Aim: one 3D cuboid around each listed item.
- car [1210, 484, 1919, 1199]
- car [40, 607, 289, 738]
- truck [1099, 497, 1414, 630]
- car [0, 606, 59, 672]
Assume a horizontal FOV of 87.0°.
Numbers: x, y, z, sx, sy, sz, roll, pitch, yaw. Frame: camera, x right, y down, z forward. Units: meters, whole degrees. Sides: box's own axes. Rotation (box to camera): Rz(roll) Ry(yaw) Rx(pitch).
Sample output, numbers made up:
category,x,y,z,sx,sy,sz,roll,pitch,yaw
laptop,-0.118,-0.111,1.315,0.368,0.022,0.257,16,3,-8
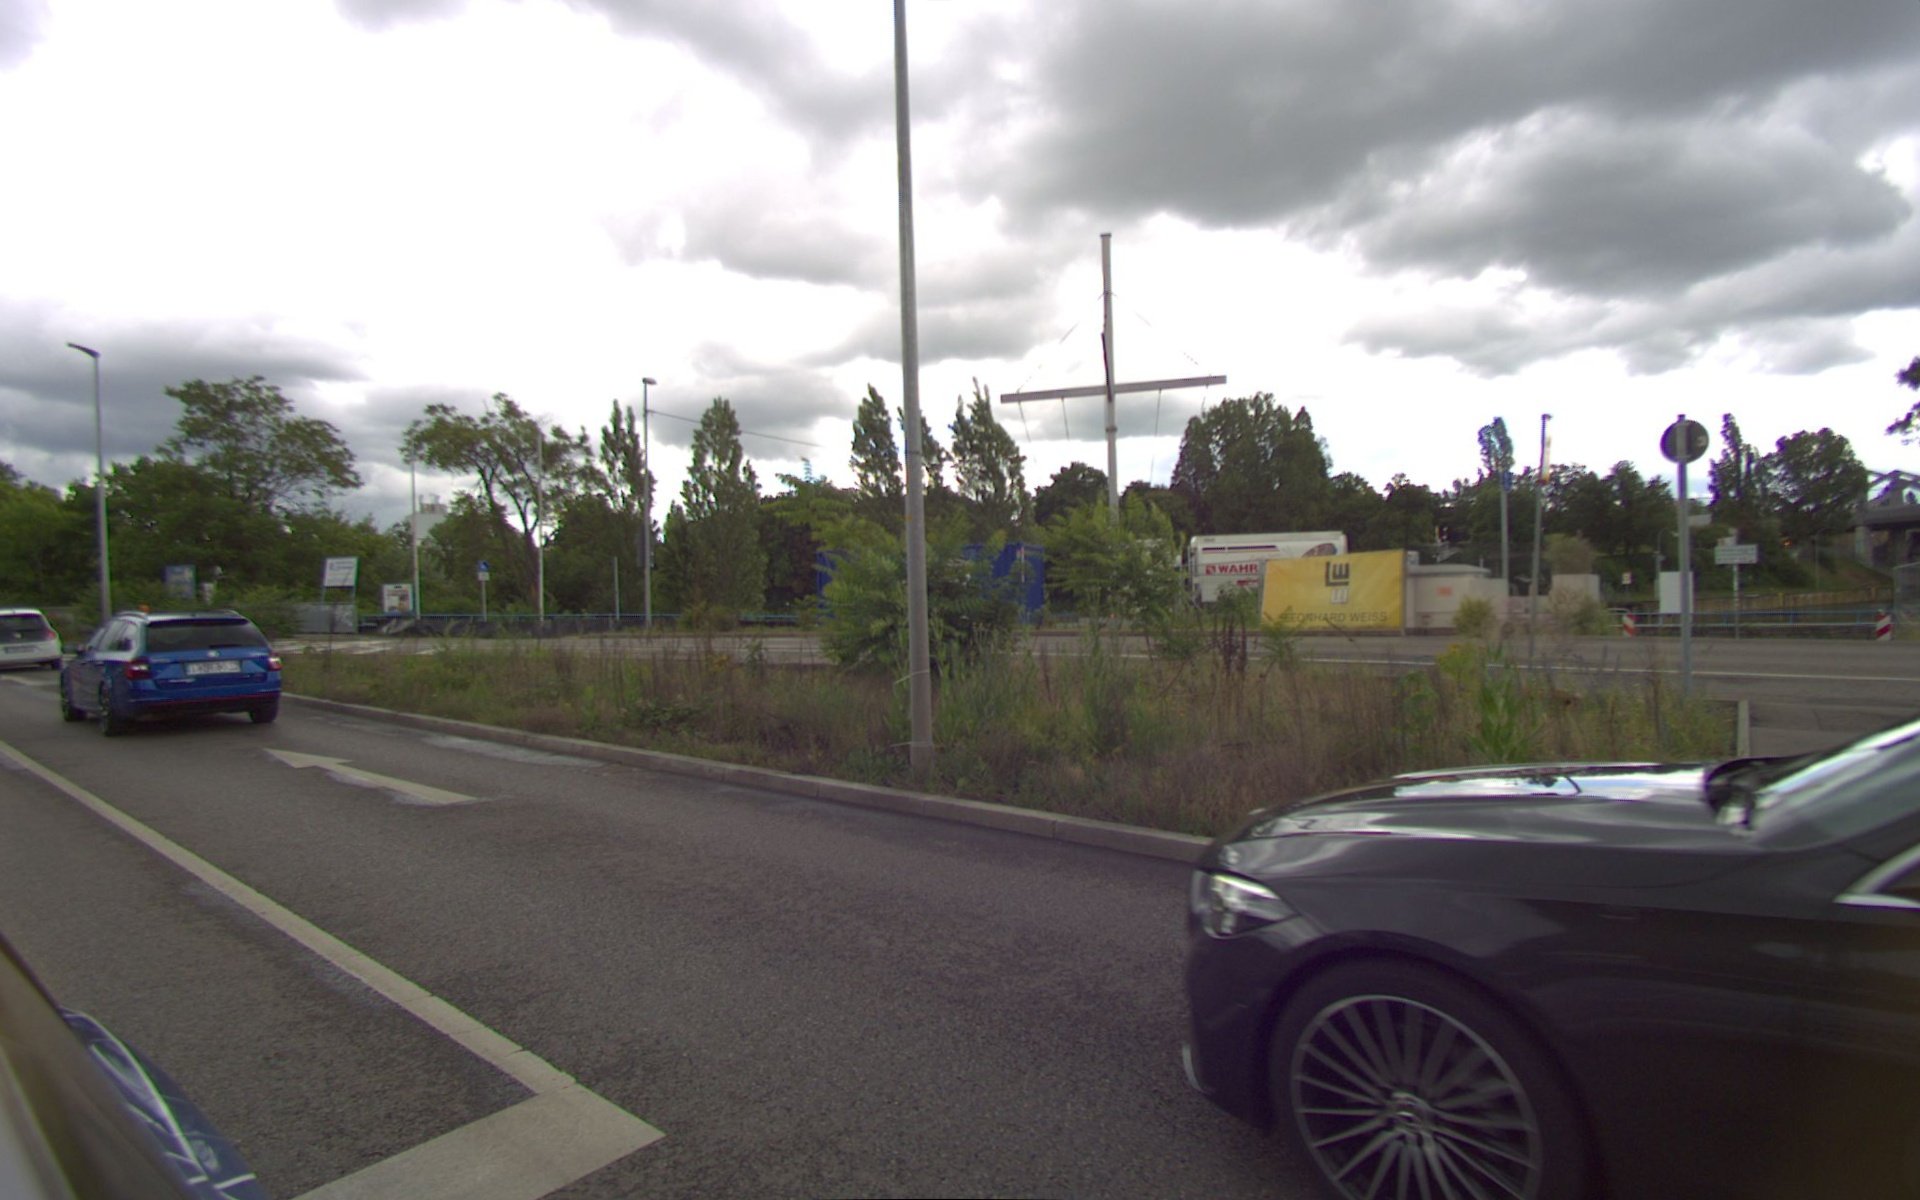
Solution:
category,x,y,z,sx,sy,sz,roll,pitch,yaw
car,2.846,0.570,1.657,4.441,1.540,1.713,-1,0,40
car,-10.520,0.830,13.259,4.441,1.432,1.713,-1,0,40
truck,8.497,-0.945,29.897,8.393,3.361,2.790,-2,-1,13
car,-24.211,0.961,25.559,4.081,1.528,1.575,-1,1,40
